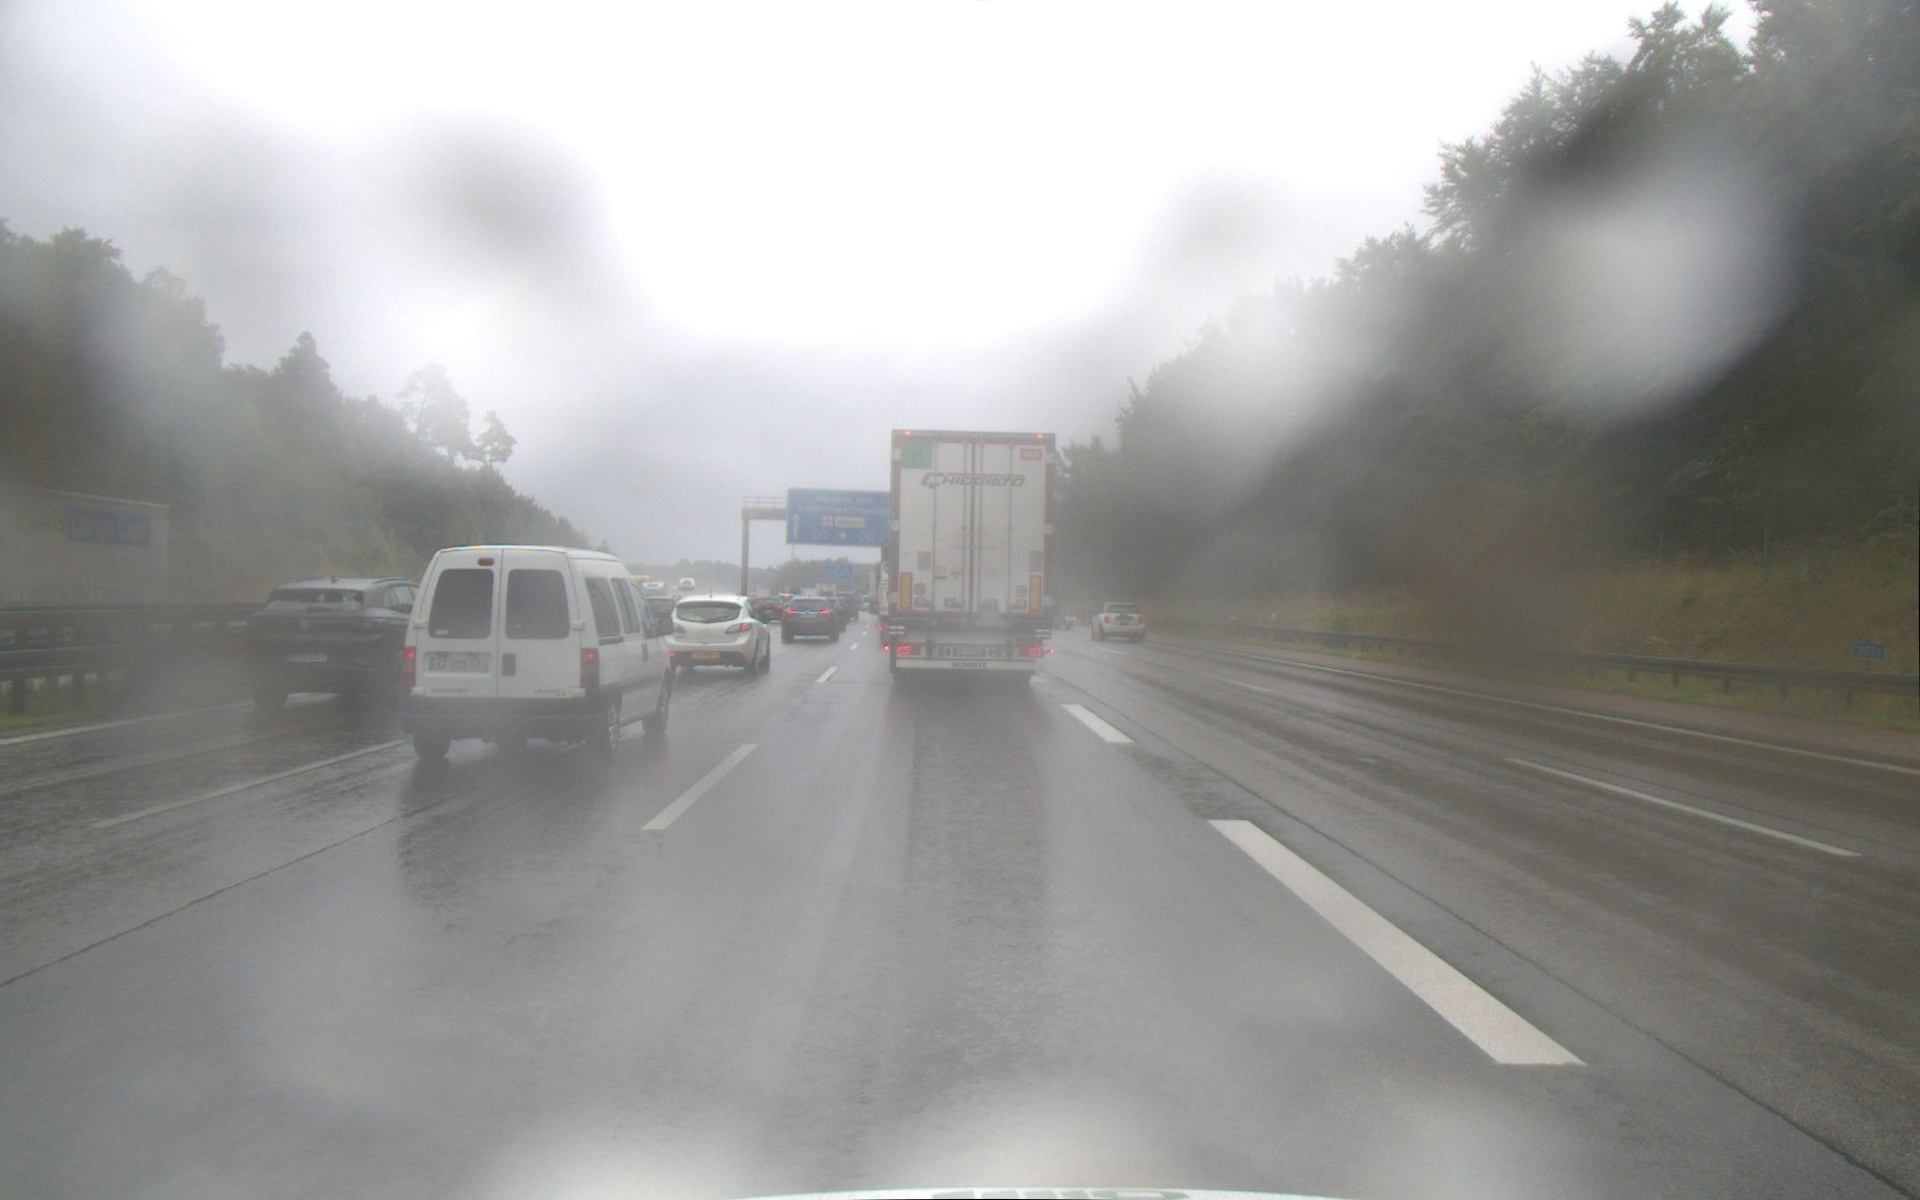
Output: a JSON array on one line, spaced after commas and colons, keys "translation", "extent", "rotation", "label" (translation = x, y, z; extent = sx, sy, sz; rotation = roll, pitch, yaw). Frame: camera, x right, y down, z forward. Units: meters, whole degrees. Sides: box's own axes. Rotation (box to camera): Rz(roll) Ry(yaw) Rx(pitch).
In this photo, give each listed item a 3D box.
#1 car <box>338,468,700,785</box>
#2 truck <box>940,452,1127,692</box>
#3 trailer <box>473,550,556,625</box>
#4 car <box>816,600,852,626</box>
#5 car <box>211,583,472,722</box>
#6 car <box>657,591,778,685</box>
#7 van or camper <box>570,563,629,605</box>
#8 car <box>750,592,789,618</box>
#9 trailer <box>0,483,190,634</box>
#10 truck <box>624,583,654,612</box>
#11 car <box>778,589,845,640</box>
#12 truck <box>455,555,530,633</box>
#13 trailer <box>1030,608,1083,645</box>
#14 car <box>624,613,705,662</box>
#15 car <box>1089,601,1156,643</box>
[{"translation": [-4.084, 0.196, 16.342], "extent": [2.167, 2.618, 5.016], "rotation": [1, 0, 0], "label": "car"}, {"translation": [1.174, -0.412, 30.985], "extent": [2.813, 3.624, 11.302], "rotation": [1, 0, 0], "label": "truck"}, {"translation": [-25.091, -0.694, 93.575], "extent": [2.329, 4.023, 9.419], "rotation": [0, 0, -1], "label": "trailer"}, {"translation": [-7.002, 0.699, 92.315], "extent": [1.808, 1.354, 4.465], "rotation": [1, 1, -2], "label": "car"}, {"translation": [-7.965, 0.597, 21.771], "extent": [1.808, 1.619, 4.465], "rotation": [1, 0, -1], "label": "car"}, {"translation": [-4.533, 0.663, 31.404], "extent": [1.808, 1.619, 4.070], "rotation": [1, 0, -2], "label": "car"}, {"translation": [-27.166, -1.190, 125.033], "extent": [2.785, 3.030, 8.783], "rotation": [1, 0, -2], "label": "van or camper"}, {"translation": [-10.602, 0.259, 92.486], "extent": [1.808, 1.354, 4.465], "rotation": [1, 1, -2], "label": "car"}, {"translation": [-26.991, -1.092, 48.397], "extent": [2.665, 4.023, 13.956], "rotation": [-1, 0, -1], "label": "trailer"}, {"translation": [-40.078, -0.350, 206.836], "extent": [2.470, 3.544, 11.705], "rotation": [1, 0, -6], "label": "truck"}, {"translation": [-4.940, 0.458, 55.446], "extent": [1.808, 1.619, 4.466], "rotation": [1, 0, 0], "label": "car"}, {"translation": [-24.971, -0.324, 88.616], "extent": [2.329, 4.023, 6.535], "rotation": [0, 0, -1], "label": "truck"}, {"translation": [4.905, 1.323, 84.728], "extent": [2.198, 1.744, 5.079], "rotation": [1, 0, -3], "label": "trailer"}, {"translation": [-8.988, 1.115, 50.658], "extent": [1.808, 1.354, 4.465], "rotation": [1, 1, -2], "label": "car"}, {"translation": [6.040, 0.800, 61.856], "extent": [1.755, 1.431, 4.224], "rotation": [1, 0, -4], "label": "car"}]
